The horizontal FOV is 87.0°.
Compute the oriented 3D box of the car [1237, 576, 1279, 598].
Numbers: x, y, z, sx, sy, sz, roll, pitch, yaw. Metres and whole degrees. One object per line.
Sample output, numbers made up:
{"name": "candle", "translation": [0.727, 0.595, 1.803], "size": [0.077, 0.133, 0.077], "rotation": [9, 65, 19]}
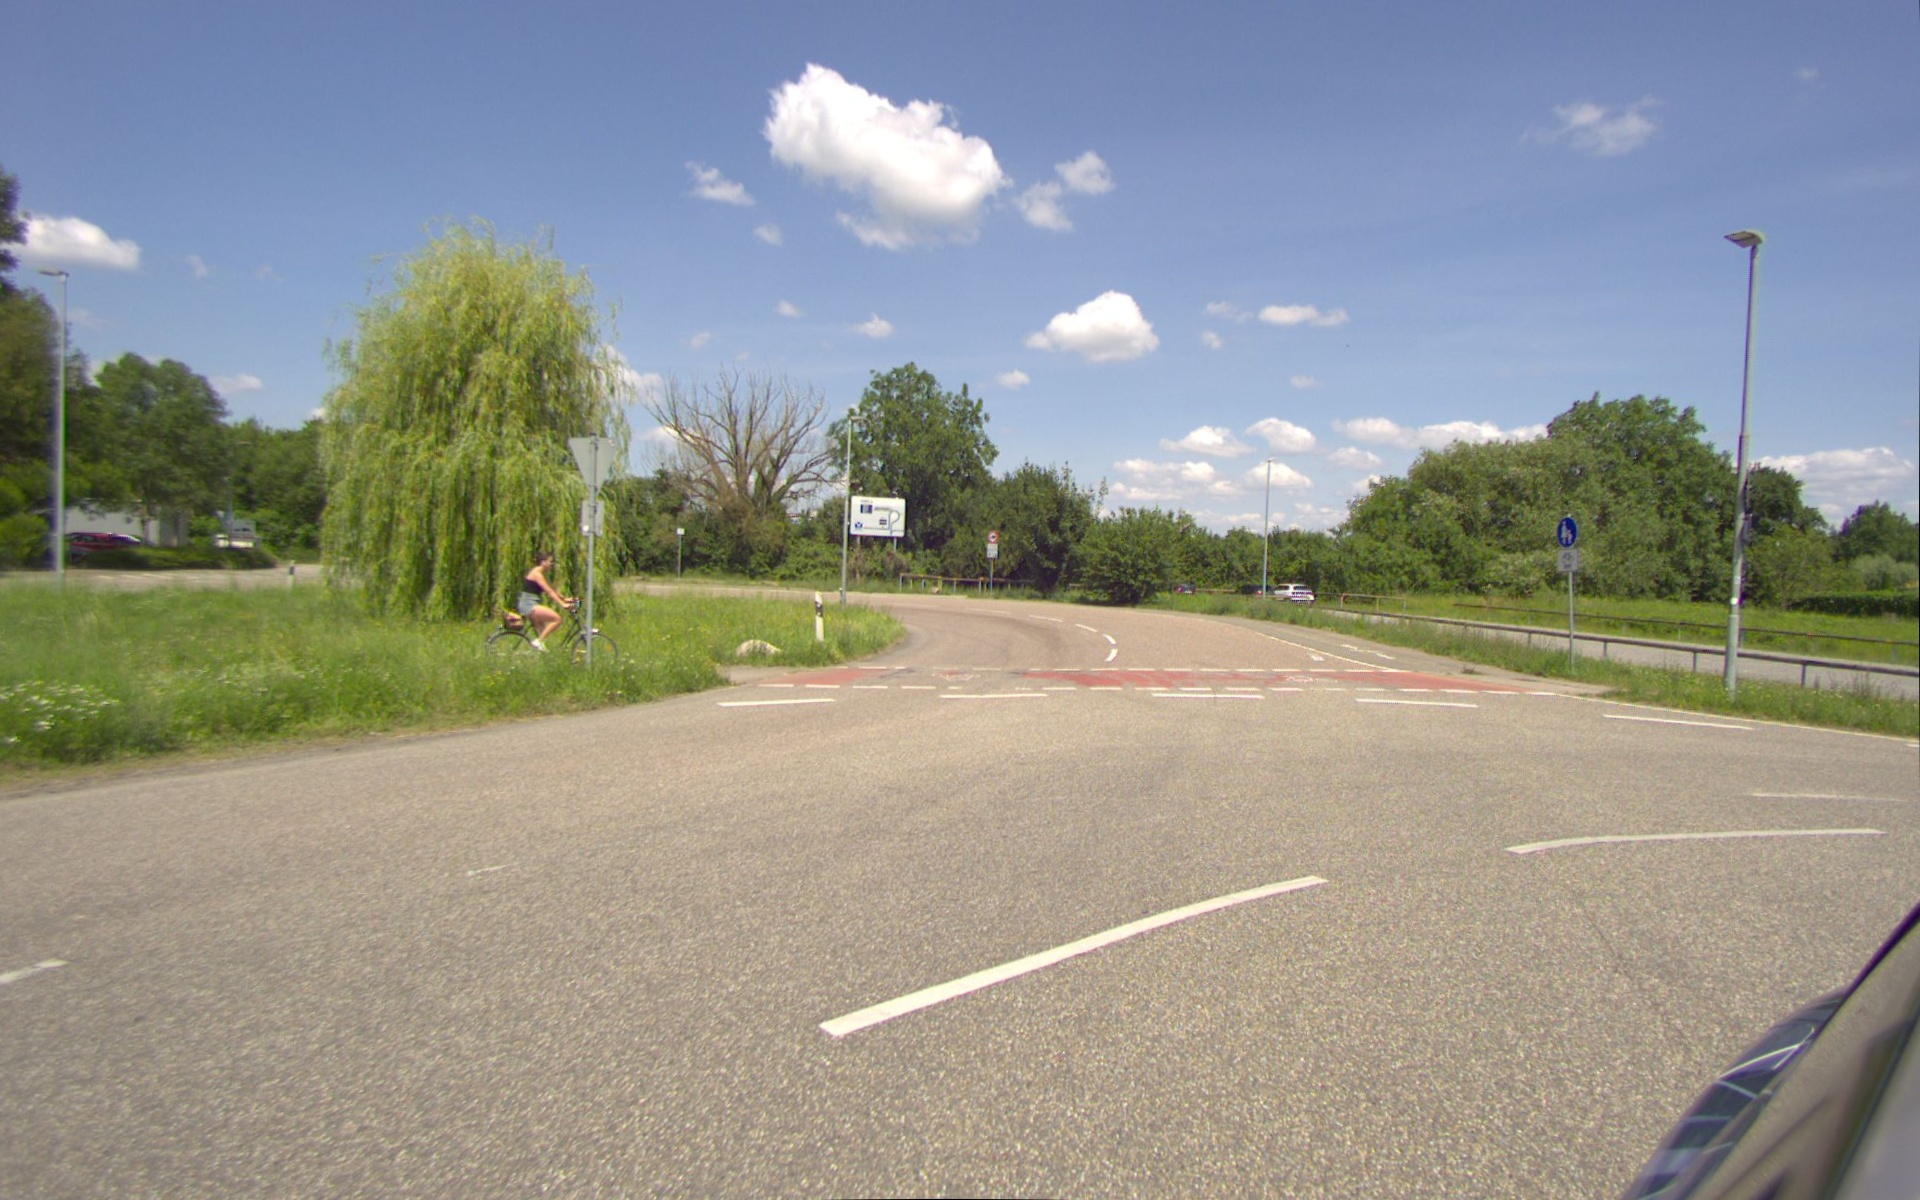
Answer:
{"name": "car", "translation": [19.535, -0.873, 66.465], "size": [1.389, 1.354, 3.124], "rotation": [1, 1, -10]}

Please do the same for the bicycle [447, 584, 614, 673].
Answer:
{"name": "bicycle", "translation": [-6.013, 0.403, 14.288], "size": [2.101, 1.179, 0.663], "rotation": [1, 2, -19]}

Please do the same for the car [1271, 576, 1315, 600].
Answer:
{"name": "car", "translation": [22.152, -0.799, 67.401], "size": [1.389, 1.523, 3.124], "rotation": [1, 1, -11]}

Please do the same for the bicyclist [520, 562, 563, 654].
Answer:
{"name": "bicyclist", "translation": [-5.926, 0.110, 14.353], "size": [0.501, 1.271, 0.470], "rotation": [2, 1, -19]}

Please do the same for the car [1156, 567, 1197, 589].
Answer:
{"name": "car", "translation": [14.043, -1.402, 65.864], "size": [1.389, 1.354, 3.125], "rotation": [1, 1, -14]}
